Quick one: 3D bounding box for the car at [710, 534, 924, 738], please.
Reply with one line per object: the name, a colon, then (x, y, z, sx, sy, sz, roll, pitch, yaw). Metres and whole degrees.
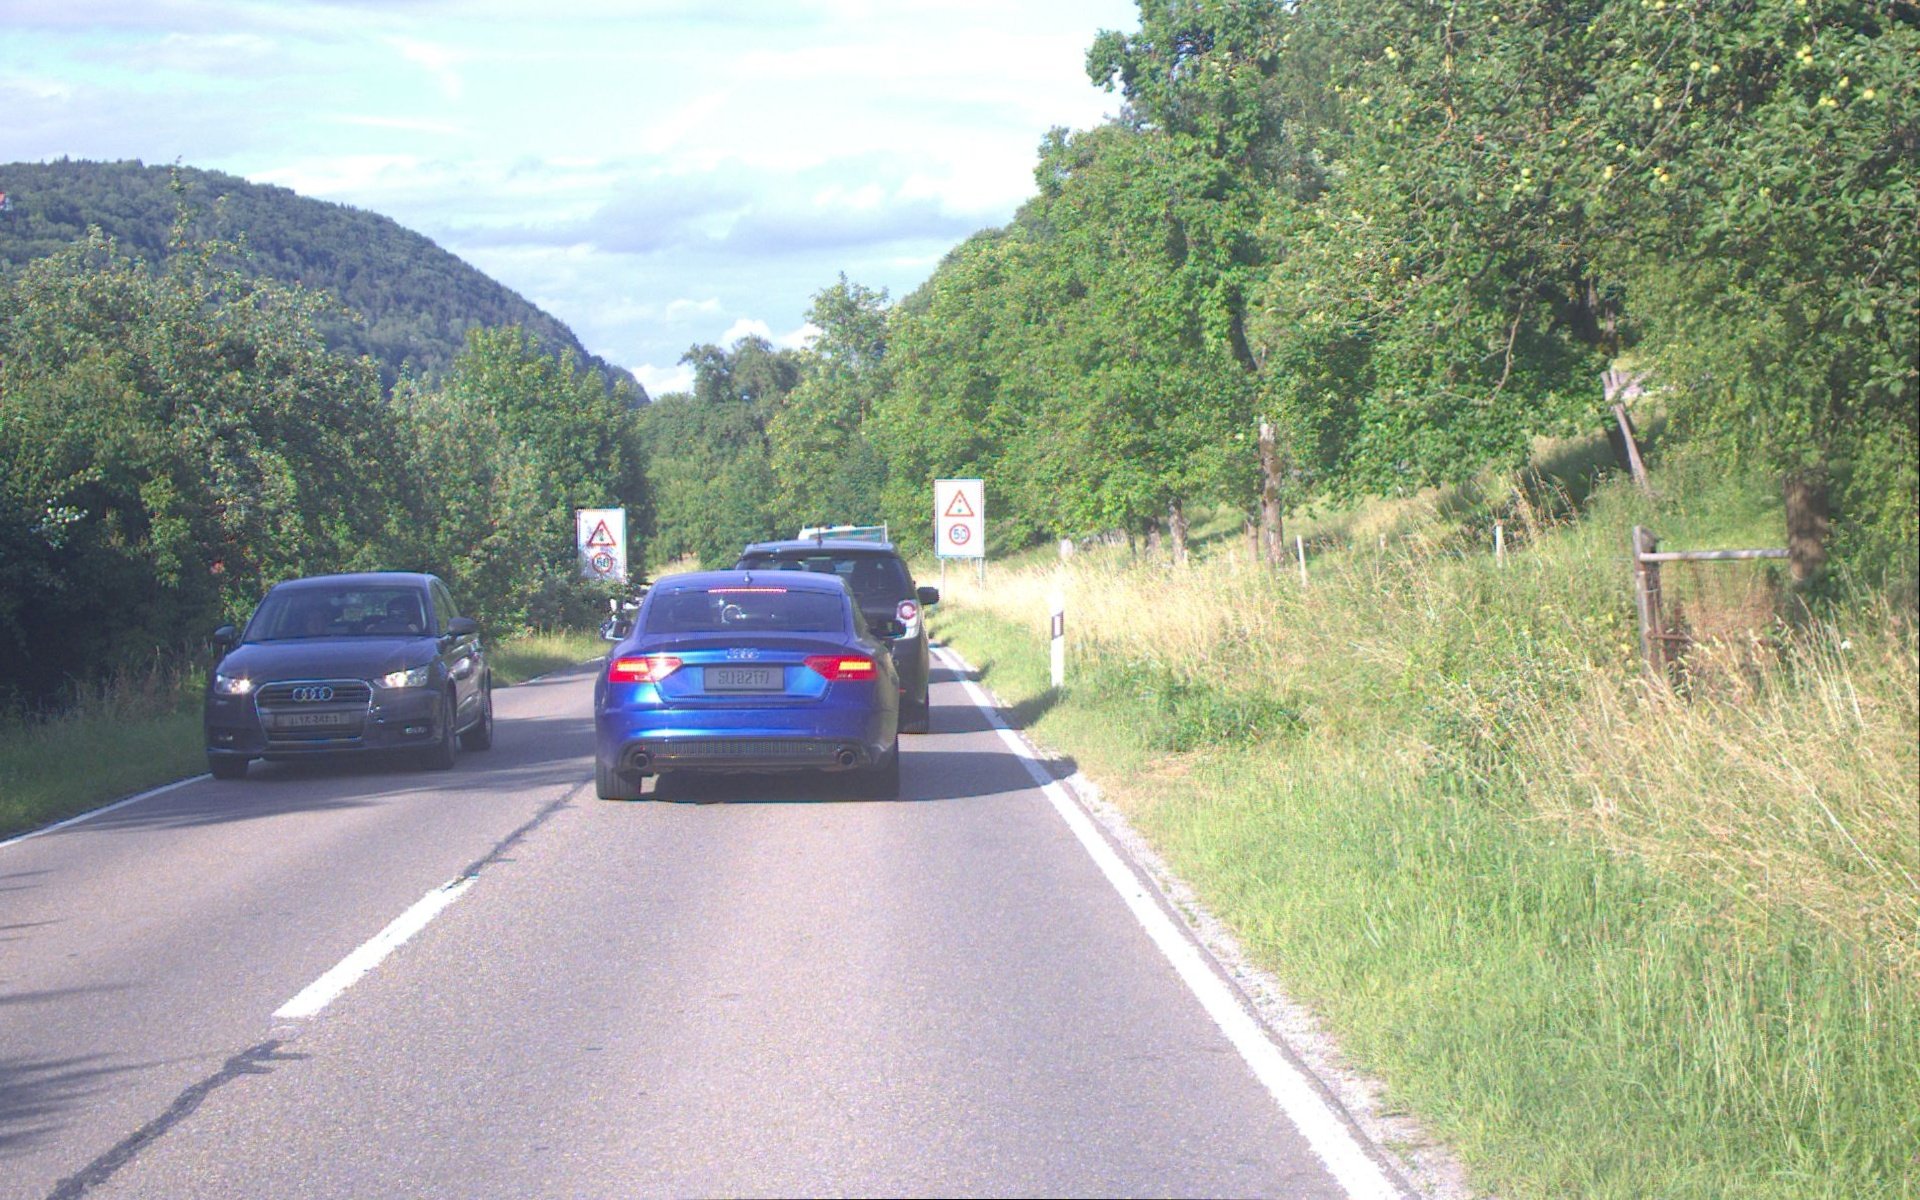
car: (-1.207, 0.260, 29.356, 1.692, 1.618, 3.789, -1, 1, -2)

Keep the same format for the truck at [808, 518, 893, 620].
truck: (-2.677, -0.750, 82.779, 1.949, 2.337, 5.094, 1, 1, -3)

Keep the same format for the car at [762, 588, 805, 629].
car: (-6.712, 0.307, 130.347, 1.558, 1.491, 3.778, 1, 1, -4)

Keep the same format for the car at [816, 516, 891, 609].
car: (-2.916, -1.014, 93.371, 1.792, 2.445, 3.920, 1, 1, -5)

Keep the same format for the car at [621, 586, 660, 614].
car: (-17.285, -0.013, 185.963, 1.558, 1.491, 3.779, 1, 1, -14)

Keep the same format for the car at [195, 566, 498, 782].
car: (-4.419, 0.483, 25.251, 1.627, 1.410, 3.789, -2, 1, -2)

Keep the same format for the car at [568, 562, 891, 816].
car: (-1.360, 0.479, 21.578, 1.805, 1.377, 4.215, -1, 1, -1)

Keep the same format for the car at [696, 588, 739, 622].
car: (-11.110, 0.211, 157.547, 1.558, 1.491, 3.779, 1, 1, -10)

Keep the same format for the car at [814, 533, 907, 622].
car: (-1.888, -0.446, 65.122, 1.692, 1.618, 3.789, -1, 1, -2)
